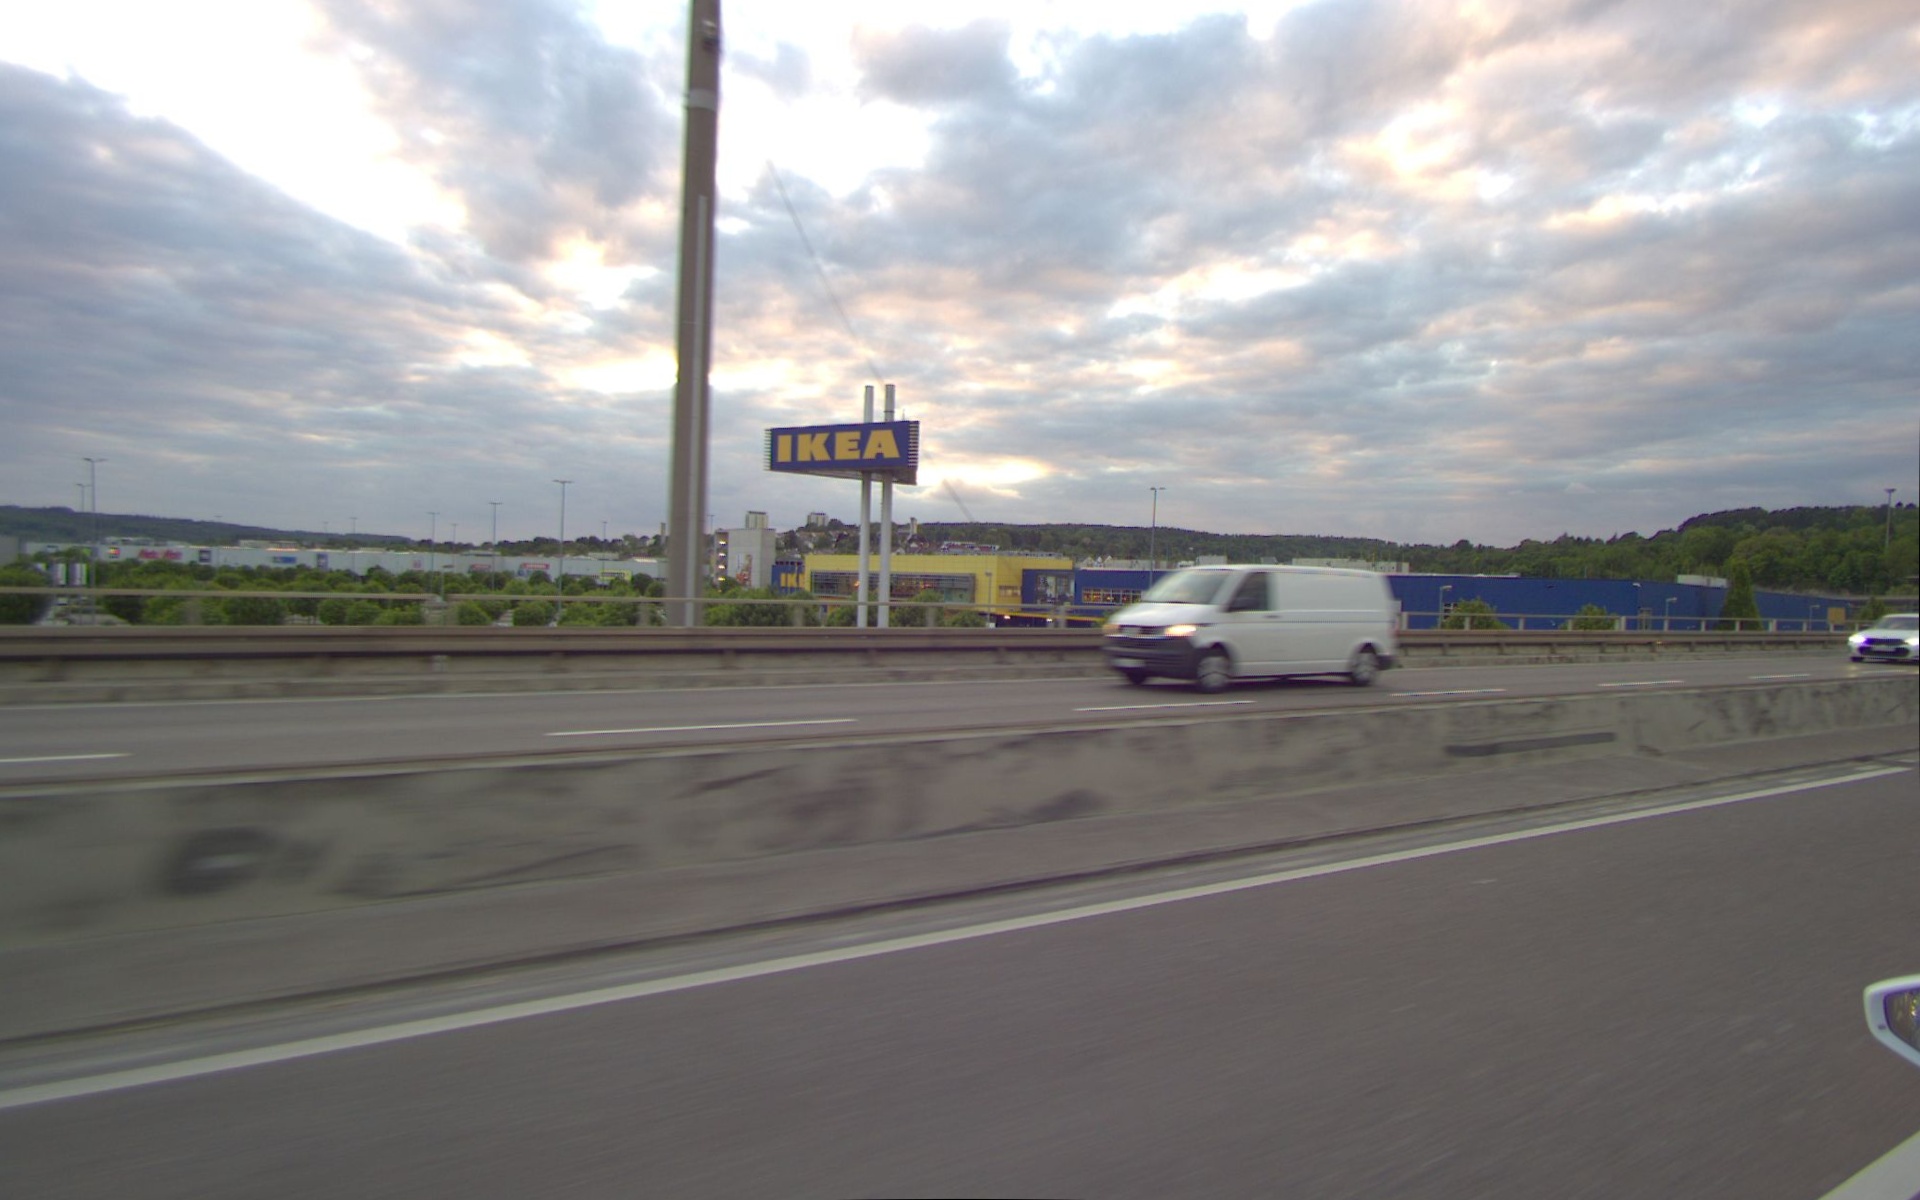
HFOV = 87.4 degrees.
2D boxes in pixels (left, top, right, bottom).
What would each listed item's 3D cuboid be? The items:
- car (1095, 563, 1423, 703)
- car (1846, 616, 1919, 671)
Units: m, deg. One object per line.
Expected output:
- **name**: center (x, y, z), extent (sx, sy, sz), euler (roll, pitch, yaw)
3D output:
- **car**: center (4.890, 0.506, 16.111), extent (5.397, 1.926, 1.891), euler (1, 0, -31)
- **car**: center (28.324, 1.276, 29.766), extent (4.762, 1.523, 1.821), euler (1, -1, -32)
